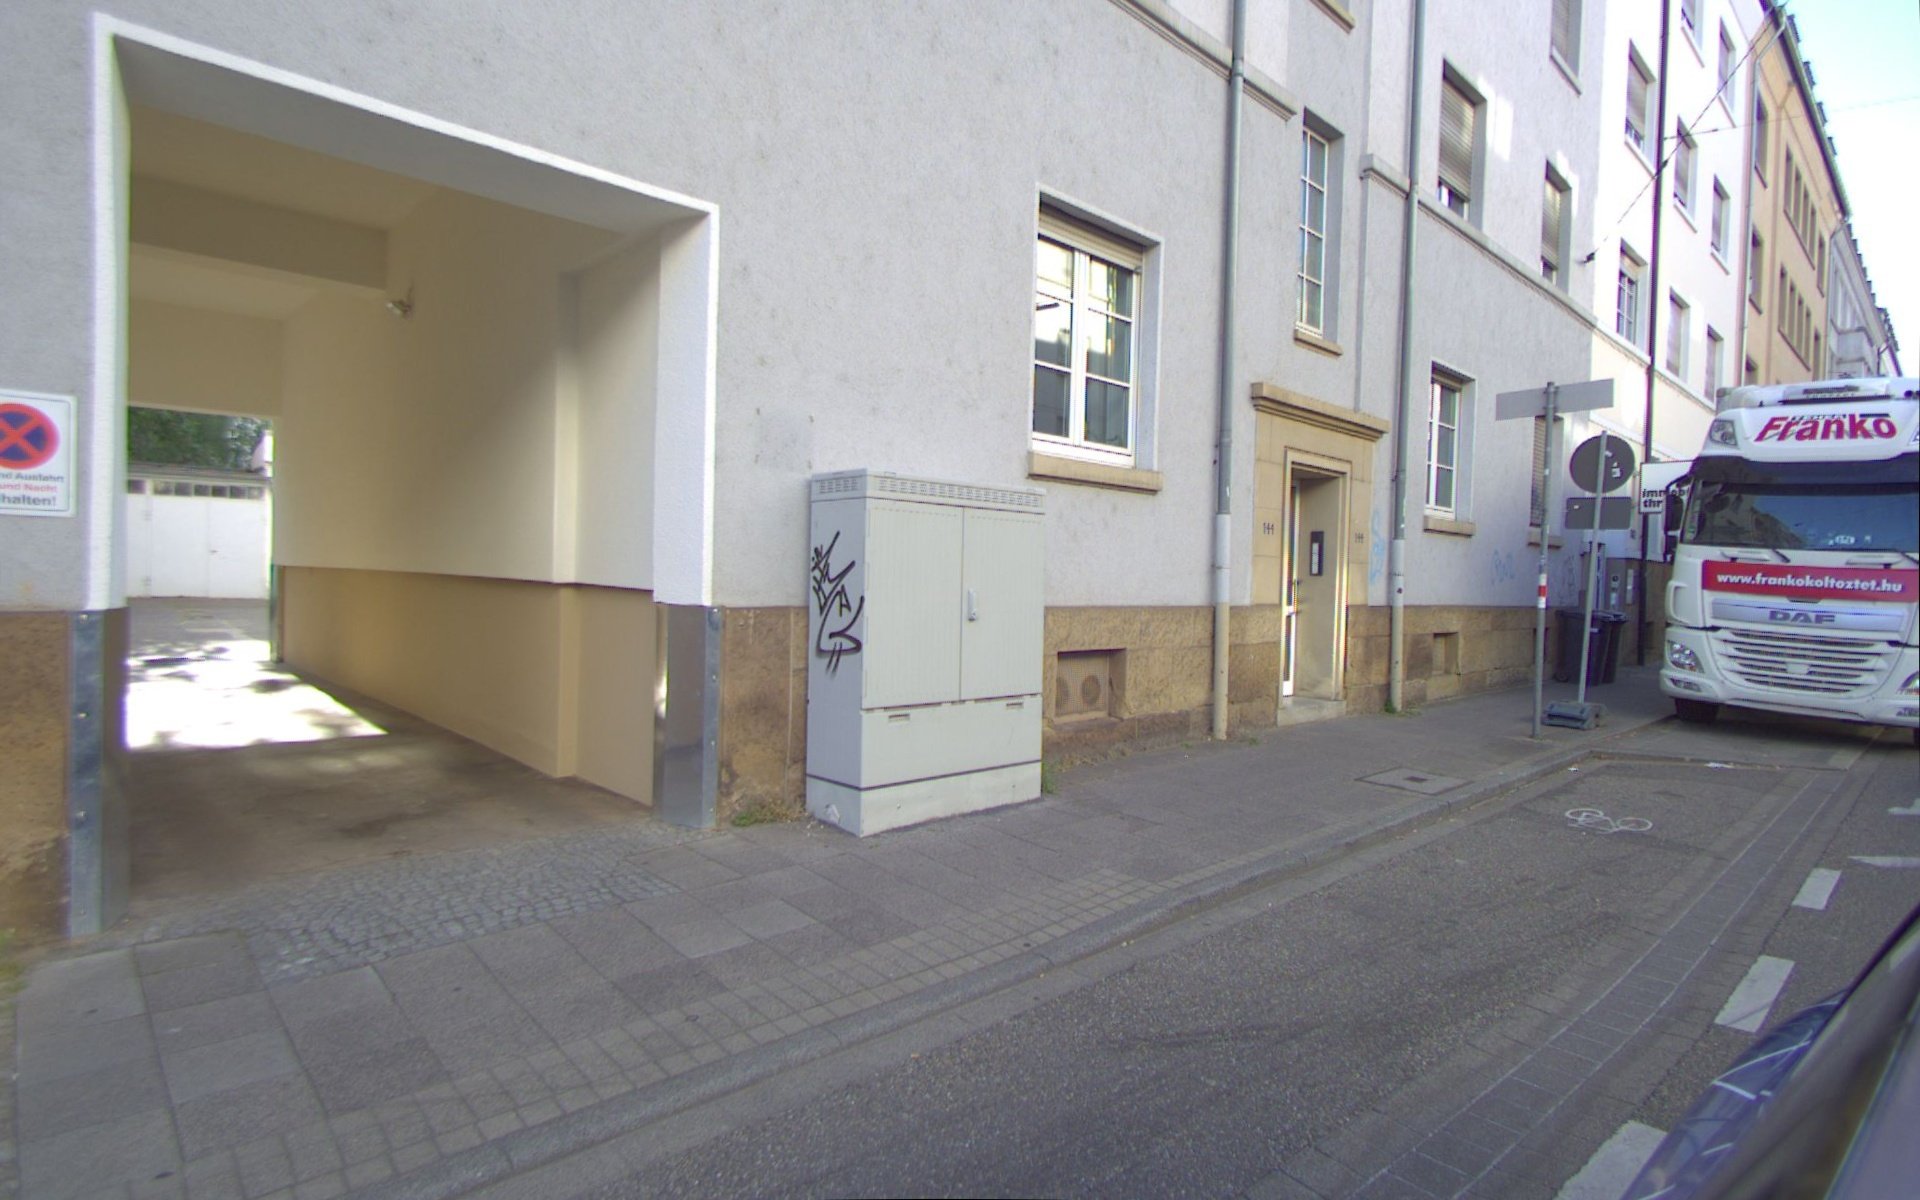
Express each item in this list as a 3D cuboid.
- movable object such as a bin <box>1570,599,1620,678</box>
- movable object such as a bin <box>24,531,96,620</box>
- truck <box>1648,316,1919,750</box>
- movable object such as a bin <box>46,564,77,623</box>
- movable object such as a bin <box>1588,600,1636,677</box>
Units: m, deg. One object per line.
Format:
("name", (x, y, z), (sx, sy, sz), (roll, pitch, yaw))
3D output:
("movable object such as a bin", (9.160, 0.545, 14.597), (0.511, 1.106, 0.488), (0, 0, 45))
("movable object such as a bin", (-14.895, -0.419, 16.754), (0.874, 1.409, 0.758), (0, 4, -44))
("truck", (12.568, -0.613, 13.840), (11.511, 4.012, 2.894), (0, 0, -44))
("movable object such as a bin", (-14.362, -0.112, 16.178), (0.366, 0.919, 0.420), (0, 3, -44))
("movable object such as a bin", (9.638, 0.551, 14.964), (0.511, 1.106, 0.488), (0, 0, 45))
